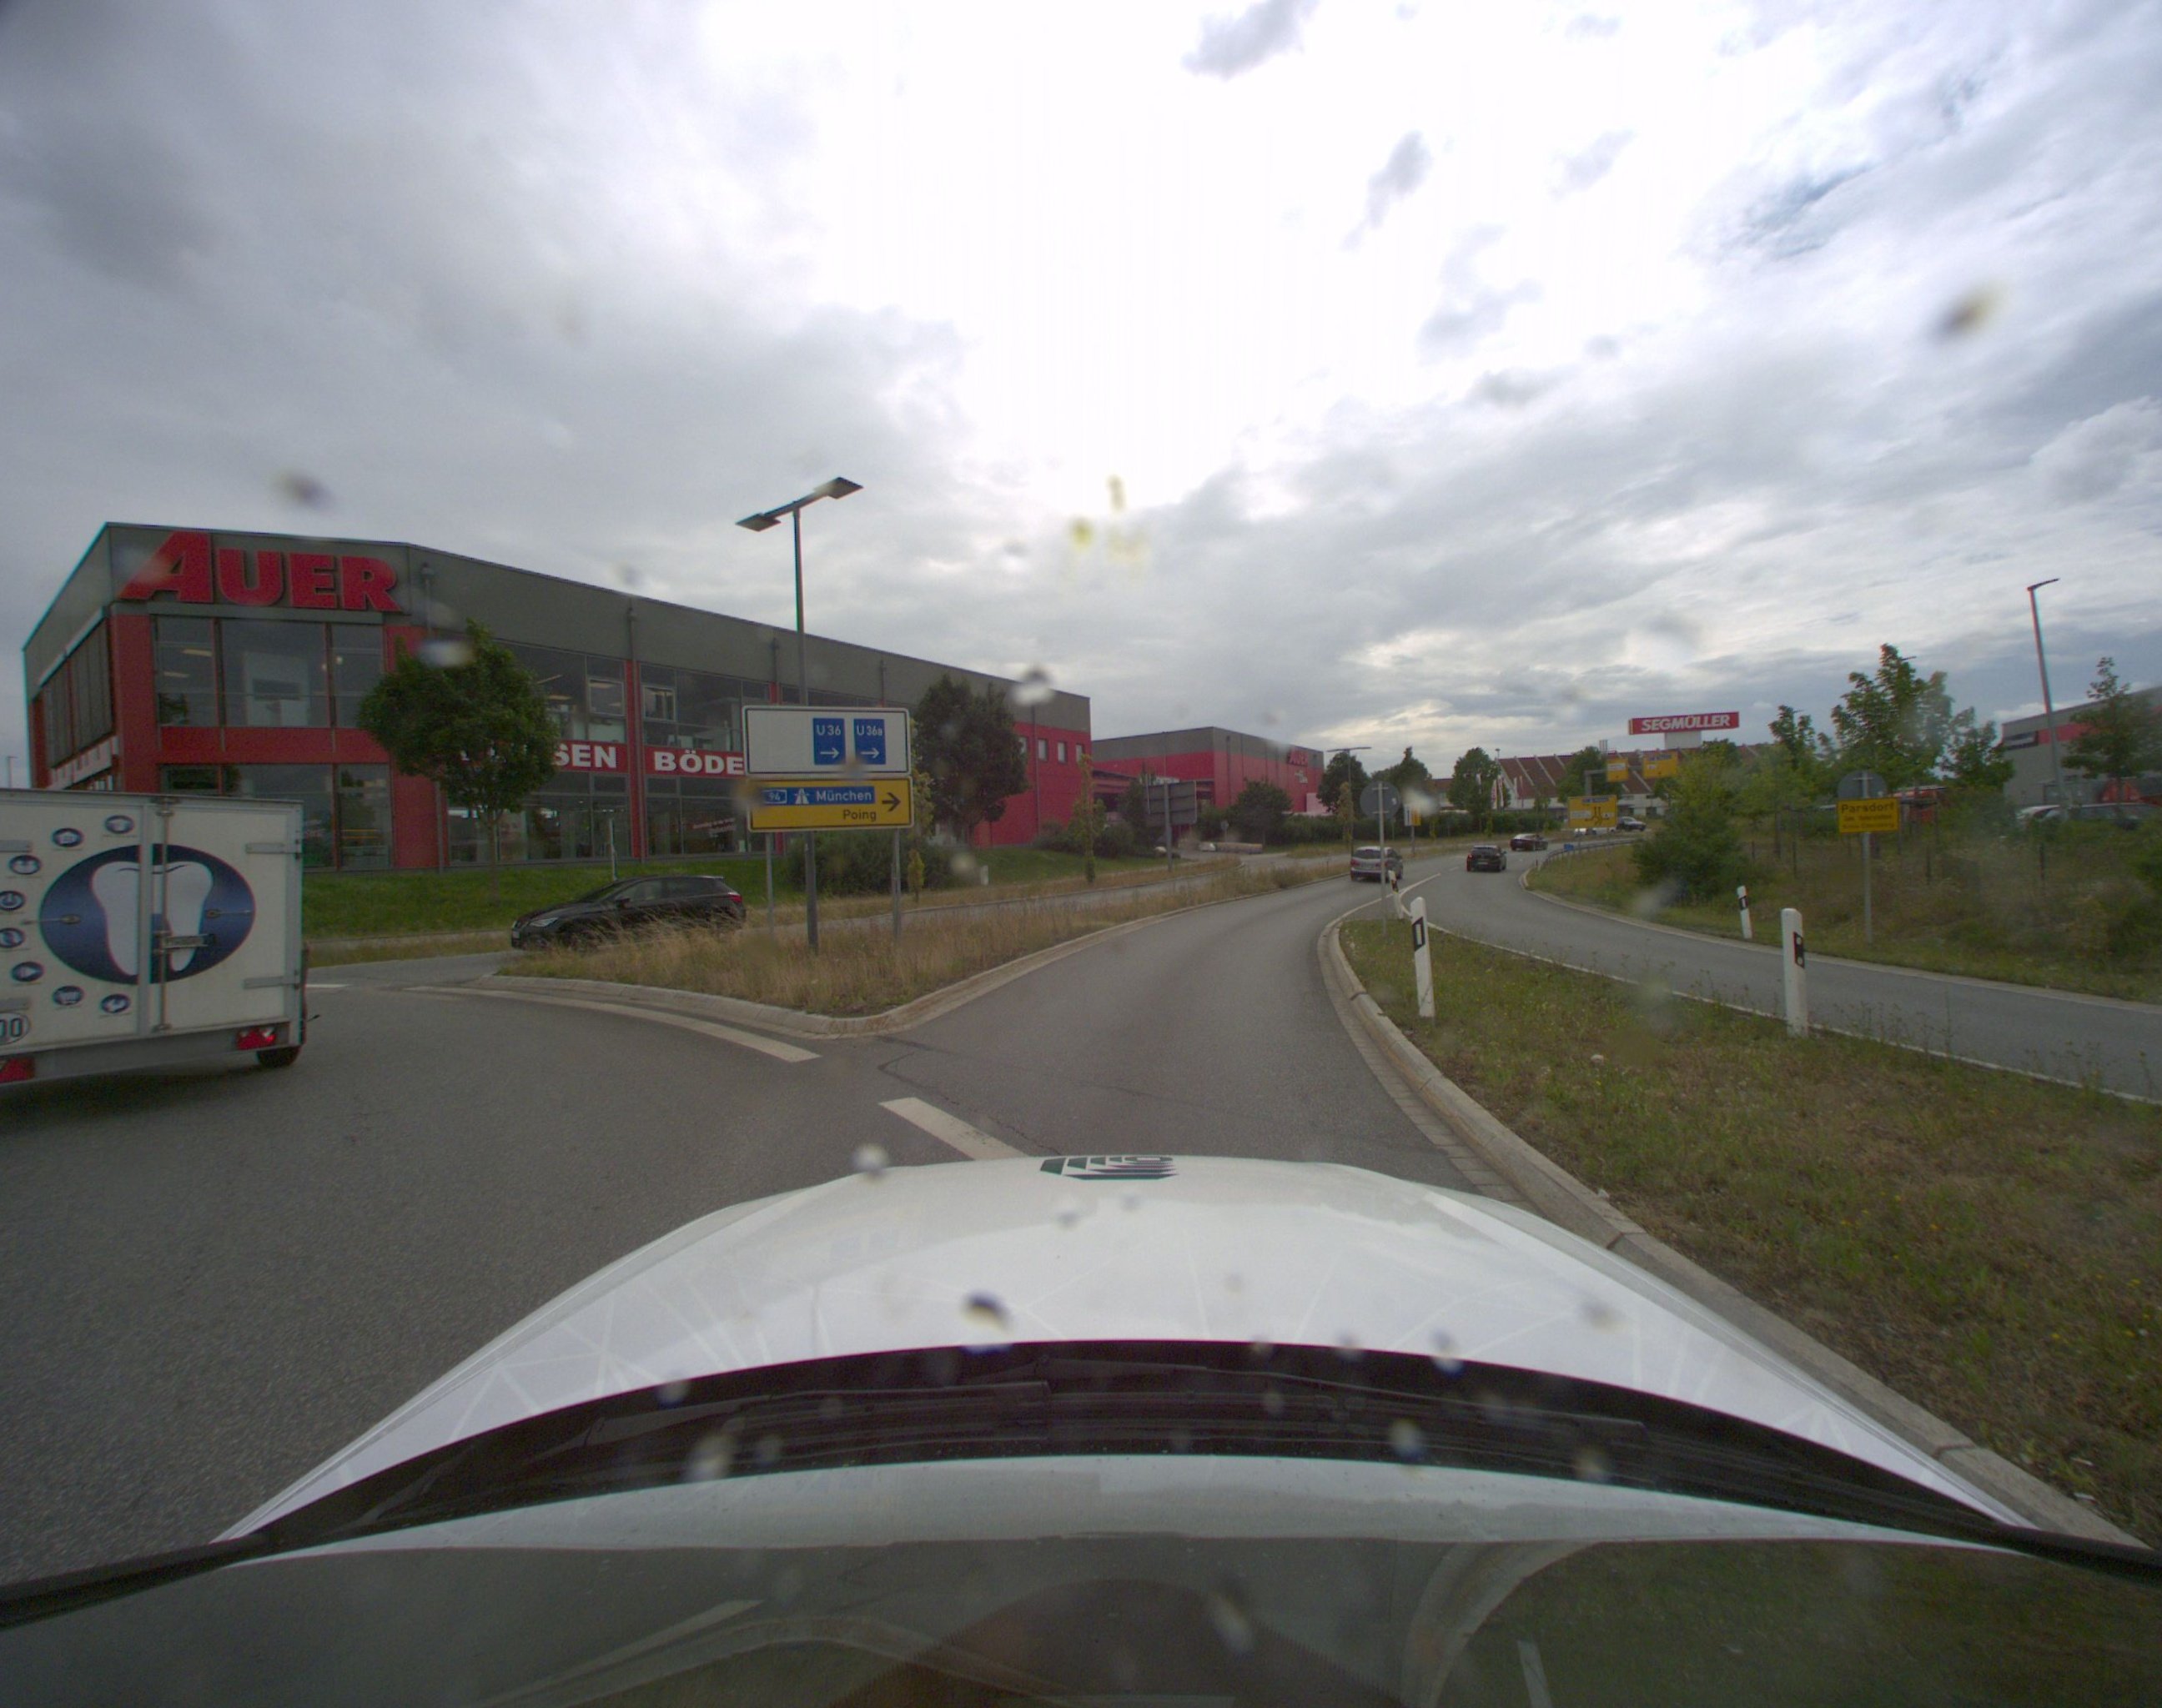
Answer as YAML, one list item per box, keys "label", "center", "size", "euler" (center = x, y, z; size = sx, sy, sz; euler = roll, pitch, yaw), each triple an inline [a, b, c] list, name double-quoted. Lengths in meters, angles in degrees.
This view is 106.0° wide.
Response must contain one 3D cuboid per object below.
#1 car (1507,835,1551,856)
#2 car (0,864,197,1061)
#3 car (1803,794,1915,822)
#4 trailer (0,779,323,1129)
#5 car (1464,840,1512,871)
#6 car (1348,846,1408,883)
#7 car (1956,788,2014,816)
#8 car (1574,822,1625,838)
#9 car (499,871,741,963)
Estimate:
- label: "car"
  center: [36.071, -0.712, 65.476]
  size: [4.022, 1.618, 1.889]
  euler: [-1, 0, -43]
- label: "car"
  center: [-11.364, 1.043, 8.306]
  size: [4.558, 1.670, 1.827]
  euler: [-2, 0, 25]
- label: "car"
  center: [44.932, -2.668, 47.111]
  size: [4.548, 1.400, 1.708]
  euler: [-2, 1, 7]
- label: "trailer"
  center: [-7.824, 0.615, 6.483]
  size: [4.092, 2.091, 1.824]
  euler: [-1, 0, 36]
- label: "car"
  center: [22.607, 0.026, 45.168]
  size: [1.851, 1.605, 3.759]
  euler: [1, 2, 35]
- label: "car"
  center: [13.960, 0.448, 38.157]
  size: [1.750, 1.616, 3.946]
  euler: [-1, 0, 33]
- label: "car"
  center: [66.105, -3.773, 59.625]
  size: [1.683, 1.811, 3.996]
  euler: [-5, 0, 32]
- label: "car"
  center: [54.319, -2.509, 85.338]
  size: [4.634, 1.625, 1.904]
  euler: [-1, 4, -18]
- label: "car"
  center: [-8.915, 1.125, 15.979]
  size: [1.624, 1.459, 3.791]
  euler: [-1, 0, 42]
